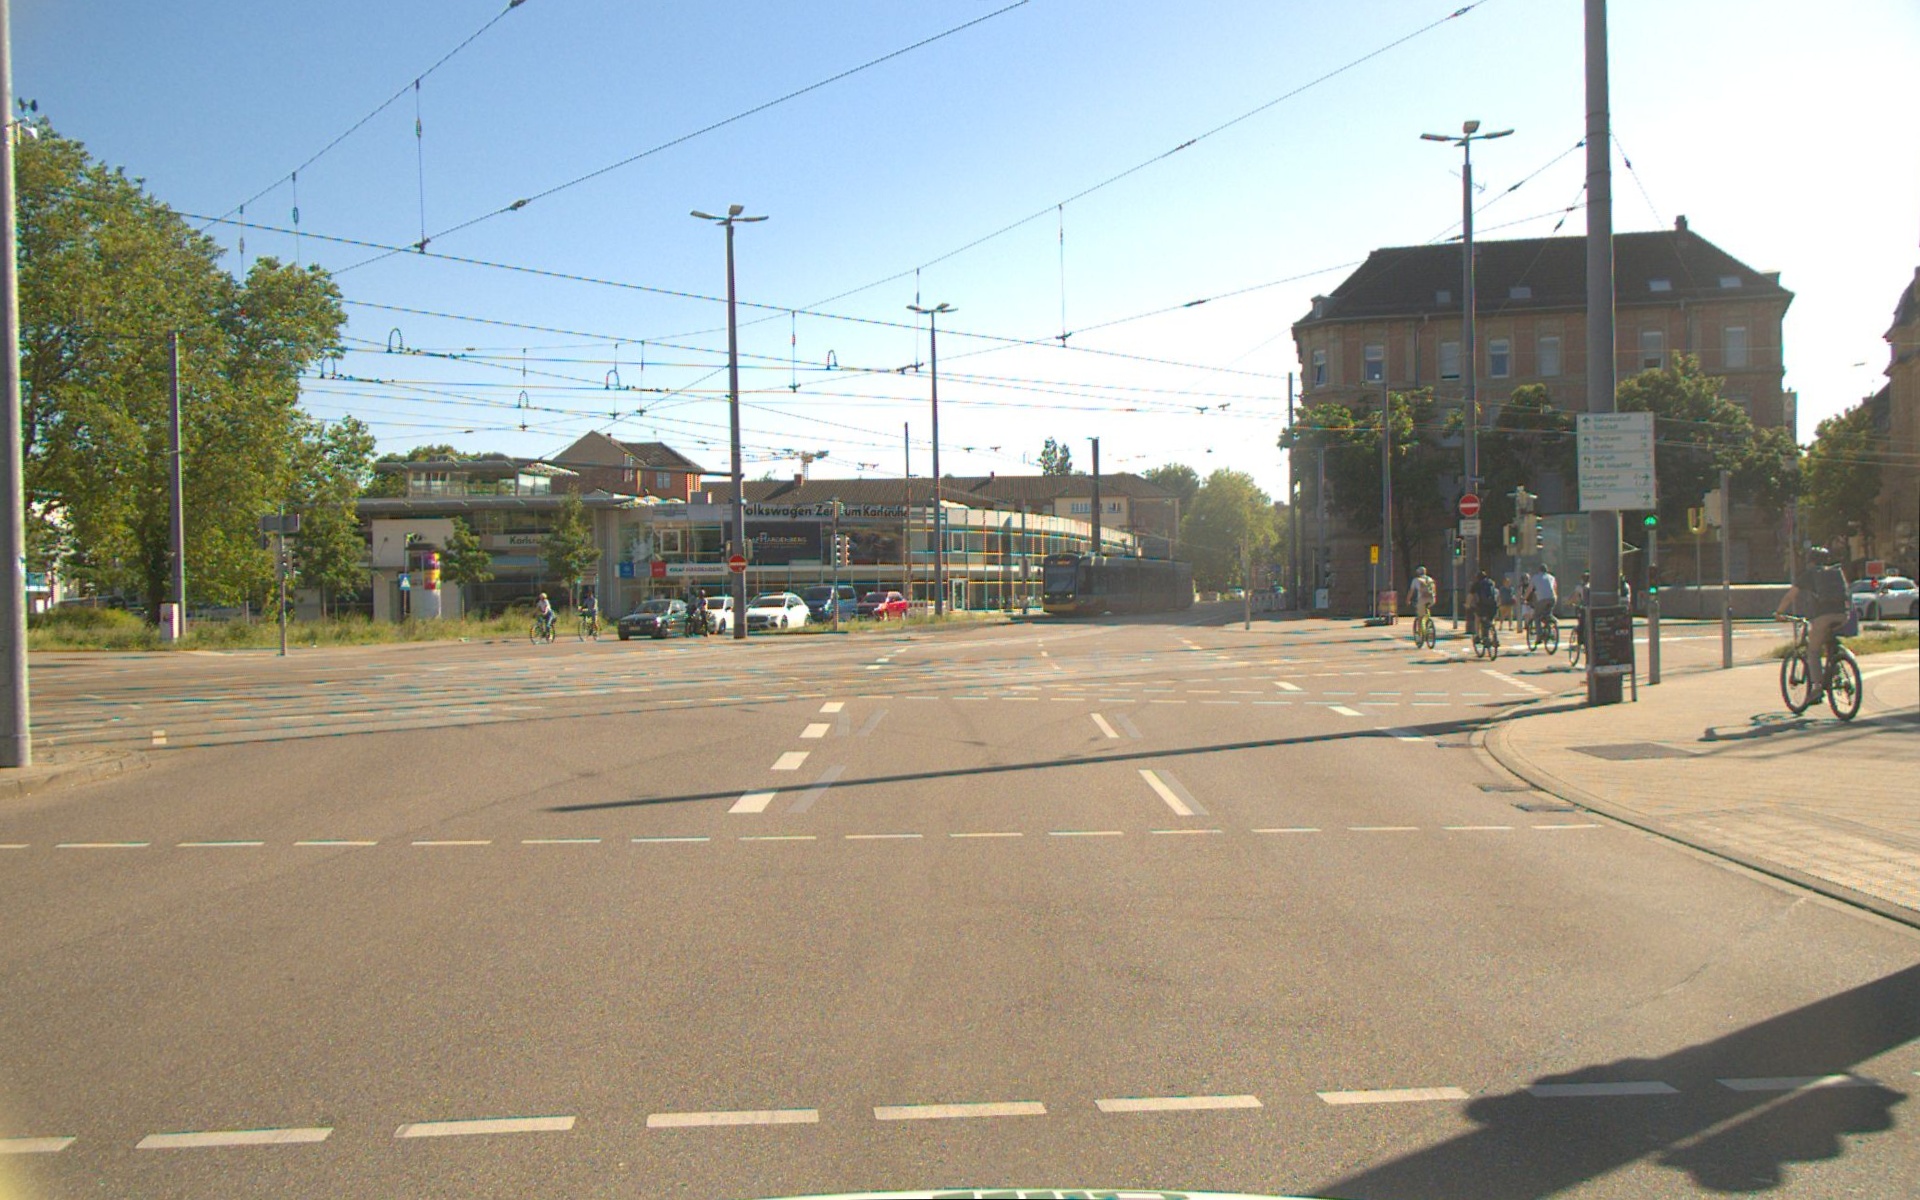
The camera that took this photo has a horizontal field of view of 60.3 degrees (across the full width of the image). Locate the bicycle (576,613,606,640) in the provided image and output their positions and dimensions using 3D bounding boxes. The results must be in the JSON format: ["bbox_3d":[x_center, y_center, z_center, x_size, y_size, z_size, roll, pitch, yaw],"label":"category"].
[{"bbox_3d":[-13.549,0.956,60.707,0.458,0.943,1.476,-1,0,13],"label":"bicycle"}]

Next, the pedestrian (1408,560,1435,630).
[{"bbox_3d":[10.711,-0.118,38.405,0.537,1.590,0.858,-1,0,19],"label":"pedestrian"}]

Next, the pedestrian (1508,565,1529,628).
[{"bbox_3d":[18.442,-0.114,54.594,0.453,2.049,0.449,-1,0,-18],"label":"pedestrian"}]

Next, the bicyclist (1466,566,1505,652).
[{"bbox_3d":[10.470,0.162,32.979,0.612,1.666,0.996,2,2,14],"label":"bicyclist"}]

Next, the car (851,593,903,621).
[{"bbox_3d":[-4.267,0.357,85.763,1.591,1.388,3.688,-1,0,16],"label":"car"}]

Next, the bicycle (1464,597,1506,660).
[{"bbox_3d":[10.467,0.550,33.008,0.612,1.133,1.853,2,2,14],"label":"bicycle"}]

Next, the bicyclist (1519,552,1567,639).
[{"bbox_3d":[12.479,-0.092,35.439,0.731,1.810,0.925,-2,0,6],"label":"bicyclist"}]

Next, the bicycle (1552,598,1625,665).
[{"bbox_3d":[11.547,0.566,30.446,0.671,1.184,1.884,-1,0,3],"label":"bicycle"}]

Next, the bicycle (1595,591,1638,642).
[{"bbox_3d":[15.044,0.366,37.936,0.559,1.145,1.742,-1,0,10],"label":"bicycle"}]

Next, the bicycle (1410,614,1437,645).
[{"bbox_3d":[10.776,0.682,38.403,0.525,0.667,1.726,-1,0,18],"label":"bicycle"}]

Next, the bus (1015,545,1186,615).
[{"bbox_3d":[9.102,-0.986,100.477,3.757,3.671,24.867,1,0,21],"label":"bus"}]

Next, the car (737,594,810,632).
[{"bbox_3d":[-7.252,0.490,64.573,1.591,1.406,3.741,-1,0,14],"label":"car"}]

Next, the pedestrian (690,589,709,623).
[{"bbox_3d":[-9.456,0.225,60.027,0.413,1.225,0.750,-1,0,16],"label":"pedestrian"}]

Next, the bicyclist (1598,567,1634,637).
[{"bbox_3d":[15.039,0.045,37.943,0.559,1.596,0.947,-1,0,10],"label":"bicyclist"}]

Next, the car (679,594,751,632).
[{"bbox_3d":[-9.804,0.501,66.415,1.591,1.448,3.689,-1,0,14],"label":"car"}]

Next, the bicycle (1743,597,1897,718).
[{"bbox_3d":[9.508,0.608,18.357,0.676,1.239,1.834,-3,0,-1],"label":"bicycle"}]

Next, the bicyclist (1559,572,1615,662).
[{"bbox_3d":[11.547,0.307,30.503,0.671,1.626,0.977,-1,0,2],"label":"bicyclist"}]

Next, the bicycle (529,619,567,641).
[{"bbox_3d":[-14.600,1.057,58.607,0.414,0.730,1.473,-1,0,29],"label":"bicycle"}]

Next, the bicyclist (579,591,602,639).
[{"bbox_3d":[-13.551,0.548,60.627,0.556,1.743,0.649,-1,0,13],"label":"bicyclist"}]

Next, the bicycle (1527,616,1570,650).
[{"bbox_3d":[12.574,0.702,35.354,0.525,0.667,1.469,-2,0,6],"label":"bicycle"}]

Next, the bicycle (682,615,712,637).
[{"bbox_3d":[-9.507,0.936,59.877,0.413,0.730,1.635,-1,0,16],"label":"bicycle"}]

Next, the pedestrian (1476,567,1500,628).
[{"bbox_3d":[17.781,-0.077,55.690,0.564,2.049,0.449,-1,0,-19],"label":"pedestrian"}]

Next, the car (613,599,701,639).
[{"bbox_3d":[-11.026,0.665,60.440,1.667,1.378,3.703,-1,0,16],"label":"car"}]

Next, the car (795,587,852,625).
[{"bbox_3d":[-6.444,0.275,78.603,1.591,1.722,3.689,-1,0,14],"label":"car"}]

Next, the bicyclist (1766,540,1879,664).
[{"bbox_3d":[9.527,0.016,18.295,0.705,1.301,0.907,-3,0,-1],"label":"bicyclist"}]

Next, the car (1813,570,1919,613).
[{"bbox_3d":[35.151,-0.331,63.873,4.258,1.591,1.785,-1,0,-26],"label":"car"}]

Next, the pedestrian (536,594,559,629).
[{"bbox_3d":[-14.612,0.388,58.606,0.414,1.225,0.679,-1,0,29],"label":"pedestrian"}]

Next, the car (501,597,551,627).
[{"bbox_3d":[-26.000,0.692,99.211,1.926,1.735,4.082,-1,0,-1],"label":"car"}]
